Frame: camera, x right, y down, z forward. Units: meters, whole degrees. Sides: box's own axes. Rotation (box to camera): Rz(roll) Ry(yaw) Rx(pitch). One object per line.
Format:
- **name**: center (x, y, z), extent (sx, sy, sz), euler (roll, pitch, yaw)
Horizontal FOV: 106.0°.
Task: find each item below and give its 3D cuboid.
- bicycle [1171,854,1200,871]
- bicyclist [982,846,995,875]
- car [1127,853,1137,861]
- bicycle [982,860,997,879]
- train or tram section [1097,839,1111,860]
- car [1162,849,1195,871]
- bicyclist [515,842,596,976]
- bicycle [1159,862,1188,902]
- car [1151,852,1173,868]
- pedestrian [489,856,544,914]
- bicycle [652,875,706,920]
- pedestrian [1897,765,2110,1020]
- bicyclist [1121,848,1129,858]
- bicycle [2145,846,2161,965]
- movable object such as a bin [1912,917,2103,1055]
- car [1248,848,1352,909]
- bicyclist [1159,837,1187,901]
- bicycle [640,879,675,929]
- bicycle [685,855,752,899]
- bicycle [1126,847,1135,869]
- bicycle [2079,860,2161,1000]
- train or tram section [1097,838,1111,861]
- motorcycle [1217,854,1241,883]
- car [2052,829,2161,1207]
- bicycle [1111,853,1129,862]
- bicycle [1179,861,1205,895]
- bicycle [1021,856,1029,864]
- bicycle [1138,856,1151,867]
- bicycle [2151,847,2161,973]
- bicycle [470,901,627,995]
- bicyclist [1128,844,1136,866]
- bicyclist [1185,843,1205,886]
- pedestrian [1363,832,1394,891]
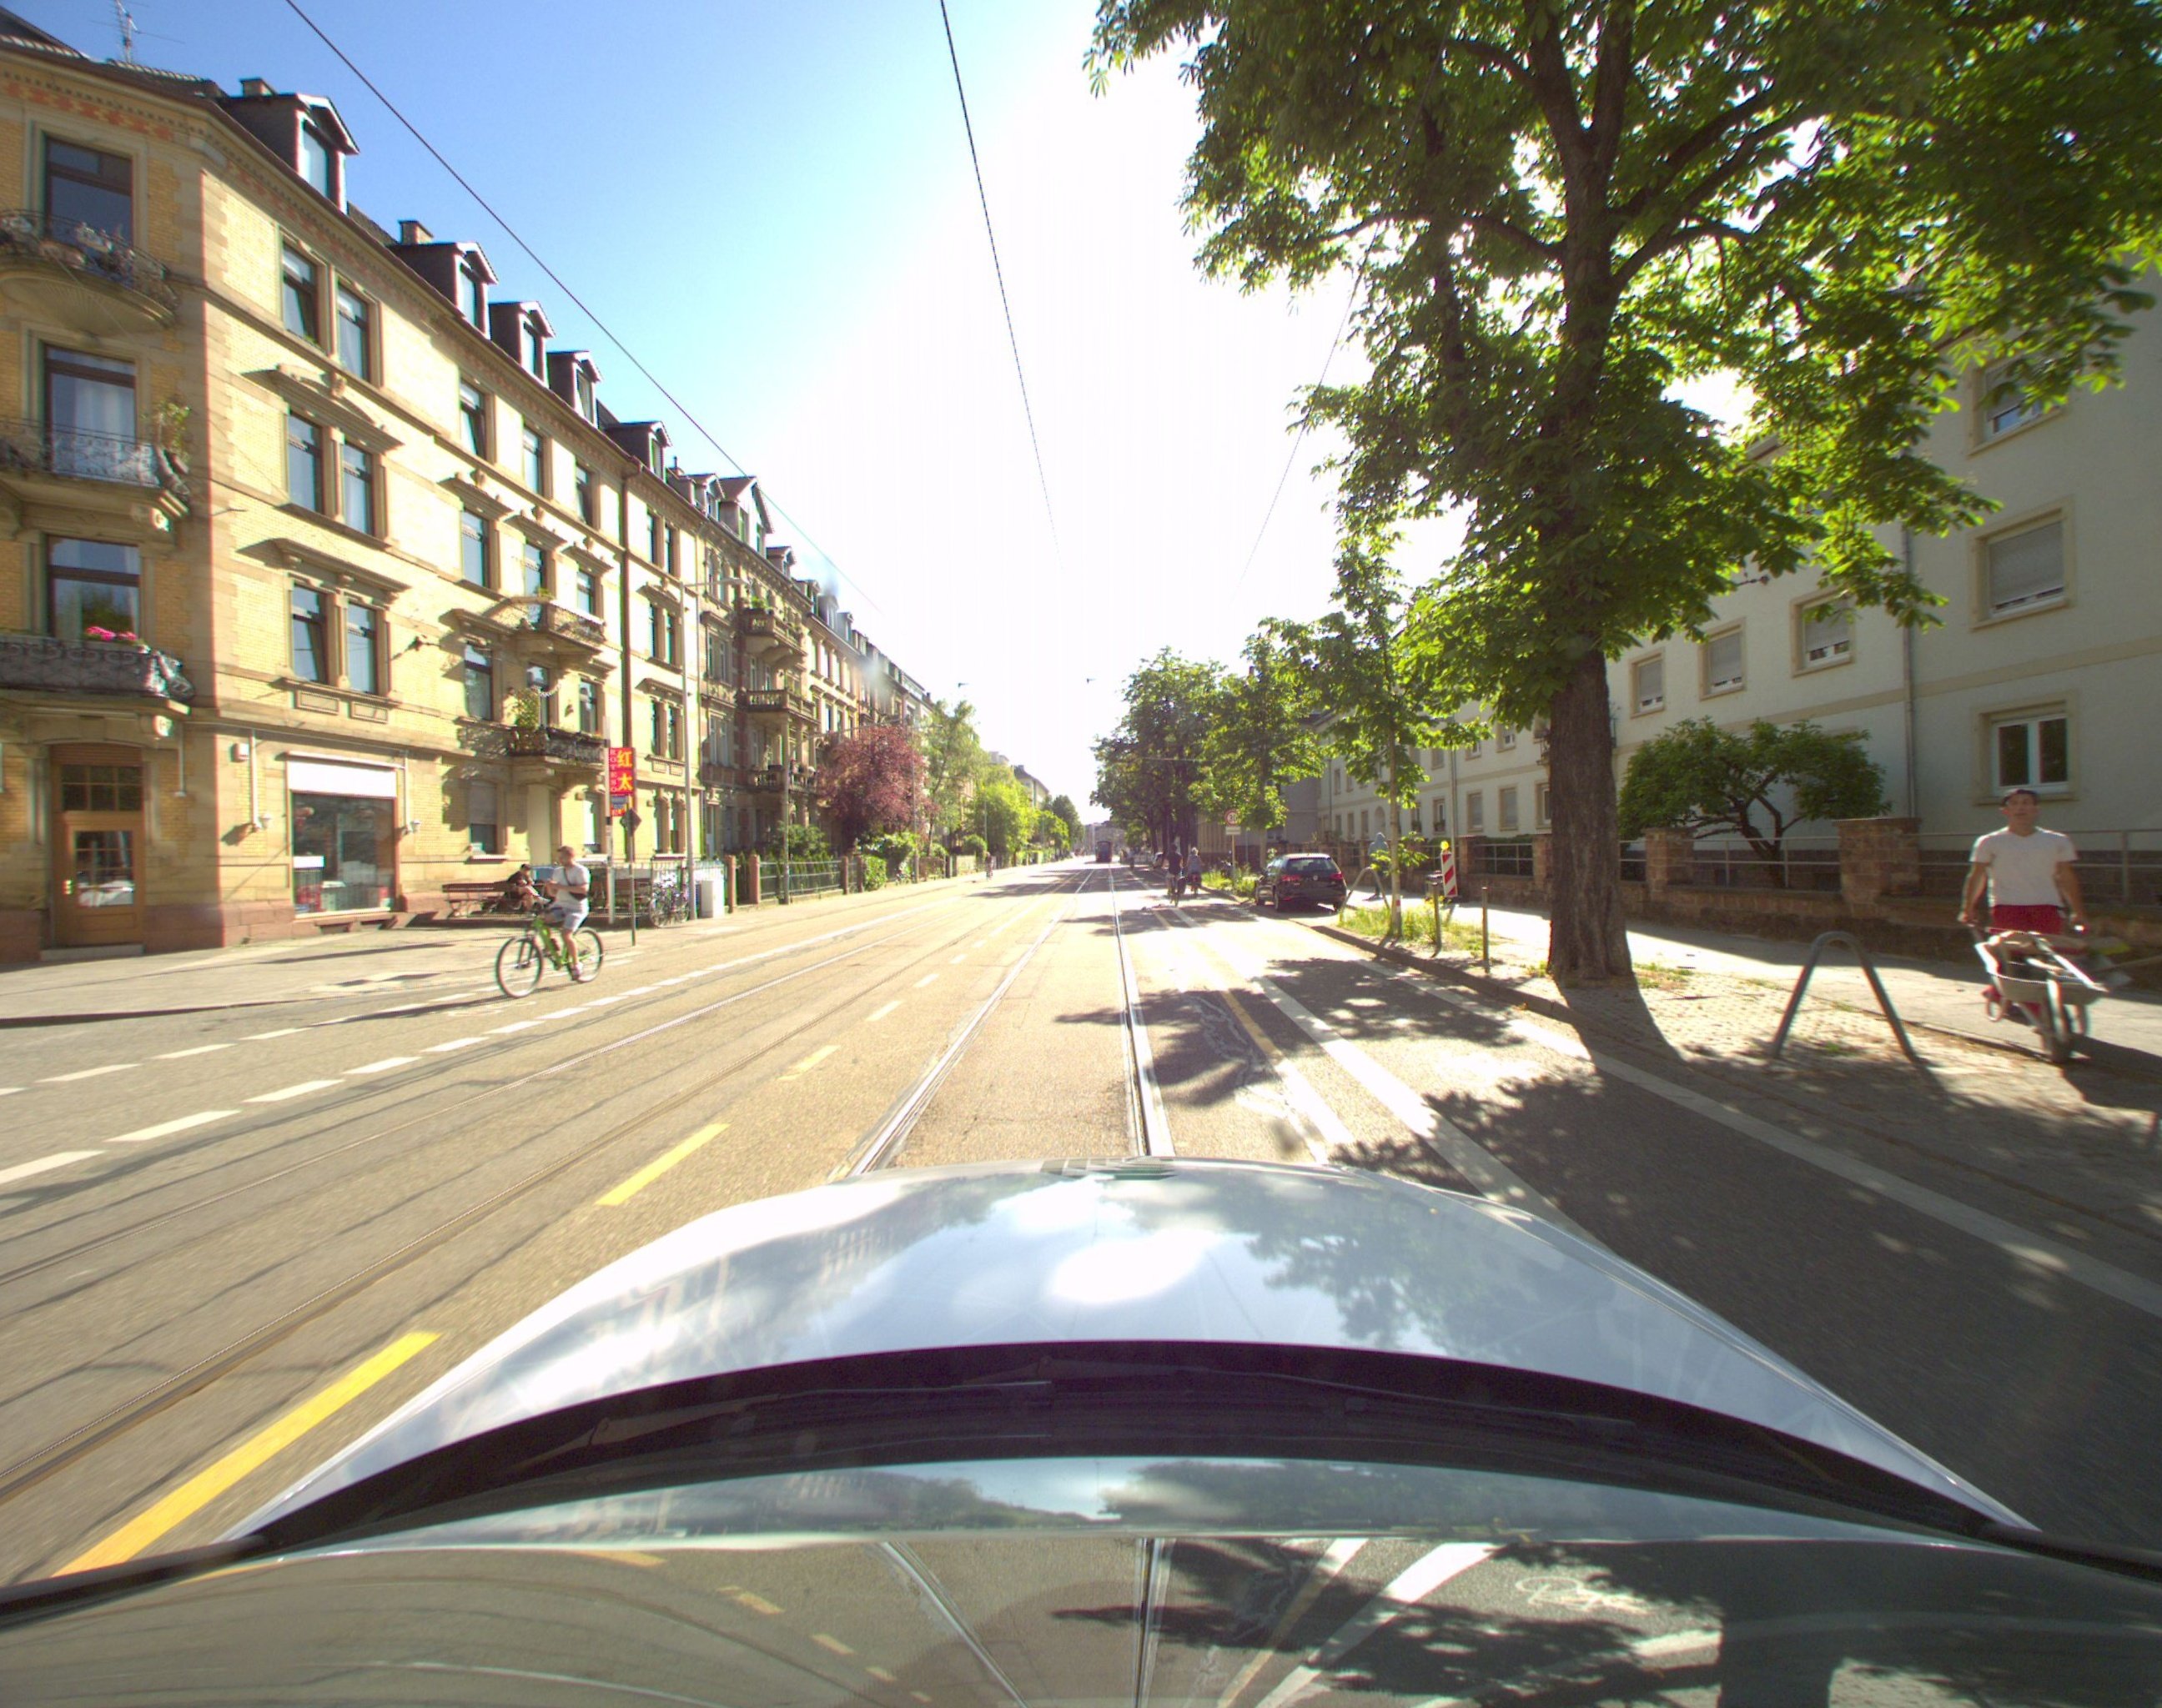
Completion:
- **bicycle**: center (6.932, 0.577, 54.117), extent (1.786, 1.019, 0.620), euler (-3, 0, 1)
- **bicyclist**: center (-5.856, 0.417, 51.616), extent (0.658, 1.801, 0.616), euler (-3, -1, 1)
- **car**: center (9.883, 0.594, 158.733), extent (1.748, 1.552, 3.678), euler (1, 0, 1)
- **bicycle**: center (-5.824, 0.970, 51.745), extent (0.689, 1.112, 1.719), euler (-2, 0, 2)
- **train or tram section**: center (3.804, -0.743, 135.189), extent (2.145, 3.431, 6.613), euler (1, 0, 1)
- **car**: center (6.773, 0.367, 56.999), extent (1.624, 1.436, 4.662), euler (-1, 0, -1)
- **bicyclist**: center (-6.662, 0.670, 10.354), extent (0.462, 1.618, 0.745), euler (-3, 0, 2)
- **bicycle**: center (2.737, 0.819, 24.191), extent (0.689, 1.112, 1.719), euler (1, 0, 2)
- **car**: center (7.560, 0.504, 75.996), extent (1.742, 1.420, 4.001), euler (-2, 0, 1)
- **pedestrian**: center (-13.756, 0.745, 19.870), extent (0.897, 1.352, 0.577), euler (-2, -1, 3)
- **bicycle**: center (-9.879, 1.048, 20.066), extent (0.334, 1.001, 1.870), euler (1, 0, 2)
- **pedestrian**: center (6.997, 0.263, 6.205), extent (0.602, 1.771, 0.904), euler (-3, 0, -29)
- **bicyclist**: center (5.662, -0.121, 104.475), extent (0.766, 1.291, 0.736), euler (1, 0, 18)
- **bicycle**: center (11.318, 0.525, 7.588), extent (0.541, 1.220, 1.742), euler (-1, 0, 2)
- **movable object such as a bin**: center (6.351, 0.862, 5.589), extent (0.926, 0.743, 0.661), euler (-4, 0, -29)
- **car**: center (5.772, 0.603, 21.934), extent (1.780, 1.464, 4.046), euler (-1, 0, 2)
- **bicyclist**: center (2.712, 0.445, 24.061), extent (0.725, 1.848, 0.837), euler (1, 0, 1)
- **bicycle**: center (-10.160, 1.189, 19.558), extent (0.369, 1.126, 0.809), euler (1, 0, 2)
- **bicycle**: center (-11.140, 0.697, 25.056), extent (1.761, 1.320, 0.612), euler (1, 0, -8)
- **bicycle**: center (4.207, 0.347, 69.134), extent (0.660, 1.859, 2.261), euler (1, 0, 3)
- **bicycle**: center (9.810, 0.675, 6.916), extent (0.541, 1.220, 1.742), euler (-1, 0, 2)
- **train or tram section**: center (3.622, -0.735, 128.536), extent (2.145, 3.431, 6.613), euler (1, 0, 1)
- **motorcycle**: center (6.575, 0.627, 36.303), extent (0.494, 1.190, 1.858), euler (-4, 1, -6)
- **car**: center (5.051, 0.624, 1.399), extent (1.714, 1.473, 4.246), euler (-2, 0, 0)
- **bicycle**: center (5.028, 0.413, 104.729), extent (2.123, 1.171, 0.806), euler (1, 0, 16)
- **bicycle**: center (3.861, 0.804, 28.364), extent (0.689, 1.112, 1.918), euler (1, 0, 2)
- **bicycle**: center (-7.349, 0.757, 106.896), extent (0.634, 1.069, 1.822), euler (1, 0, -15)
- **bicycle**: center (6.373, 0.740, 81.754), extent (1.262, 1.024, 0.706), euler (1, -1, 9)
- **bicycle**: center (10.714, 0.541, 7.079), extent (0.541, 1.220, 1.742), euler (-1, 0, 2)
- **bicycle**: center (-6.648, 1.125, 10.328), extent (0.458, 0.926, 2.204), euler (-2, 0, 2)
- **bicyclist**: center (4.306, 0.087, 68.434), extent (0.643, 1.796, 0.956), euler (1, 0, 1)
- **bicyclist**: center (3.982, 0.354, 28.496), extent (0.633, 1.468, 0.616), euler (1, 0, 1)
- **pedestrian**: center (8.797, 0.212, 24.096), extent (0.755, 1.724, 0.583), euler (1, 0, 31)
